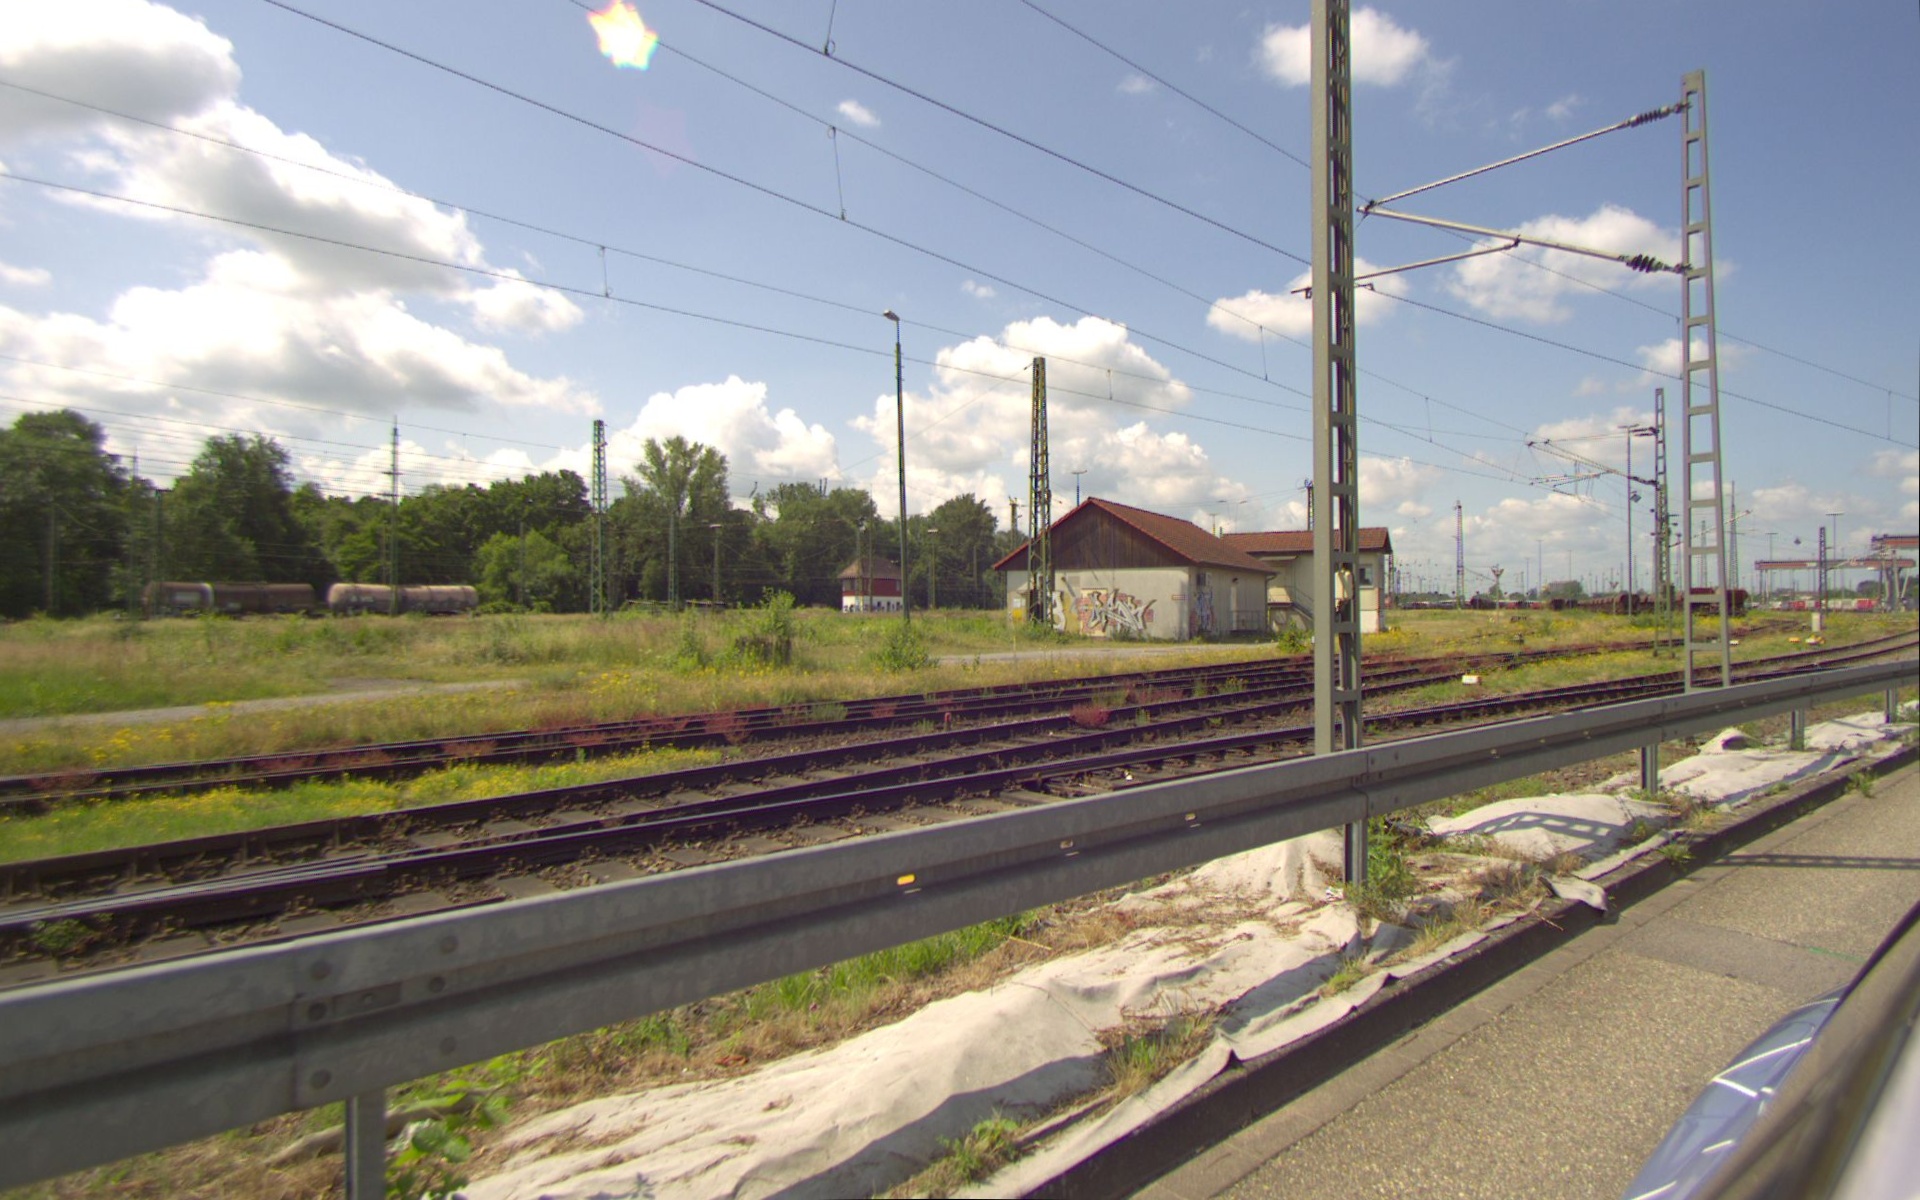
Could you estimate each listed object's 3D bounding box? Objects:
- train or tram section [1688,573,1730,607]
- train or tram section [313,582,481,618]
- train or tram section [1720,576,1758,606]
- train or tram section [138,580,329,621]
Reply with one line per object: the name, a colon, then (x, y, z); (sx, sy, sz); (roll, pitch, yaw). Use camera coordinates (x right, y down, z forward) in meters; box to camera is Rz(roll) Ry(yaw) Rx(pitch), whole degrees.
train or tram section: (89.209, -1.102, 120.710); (3.279, 3.764, 12.398); (-1, -1, 34)
train or tram section: (-56.314, -0.068, 102.145); (3.008, 3.347, 15.593); (0, 0, 30)
train or tram section: (105.703, -1.151, 137.498); (3.183, 3.764, 12.398); (-1, -1, 34)
train or tram section: (-63.649, -0.047, 89.366); (3.008, 3.347, 13.792); (0, 0, 30)
